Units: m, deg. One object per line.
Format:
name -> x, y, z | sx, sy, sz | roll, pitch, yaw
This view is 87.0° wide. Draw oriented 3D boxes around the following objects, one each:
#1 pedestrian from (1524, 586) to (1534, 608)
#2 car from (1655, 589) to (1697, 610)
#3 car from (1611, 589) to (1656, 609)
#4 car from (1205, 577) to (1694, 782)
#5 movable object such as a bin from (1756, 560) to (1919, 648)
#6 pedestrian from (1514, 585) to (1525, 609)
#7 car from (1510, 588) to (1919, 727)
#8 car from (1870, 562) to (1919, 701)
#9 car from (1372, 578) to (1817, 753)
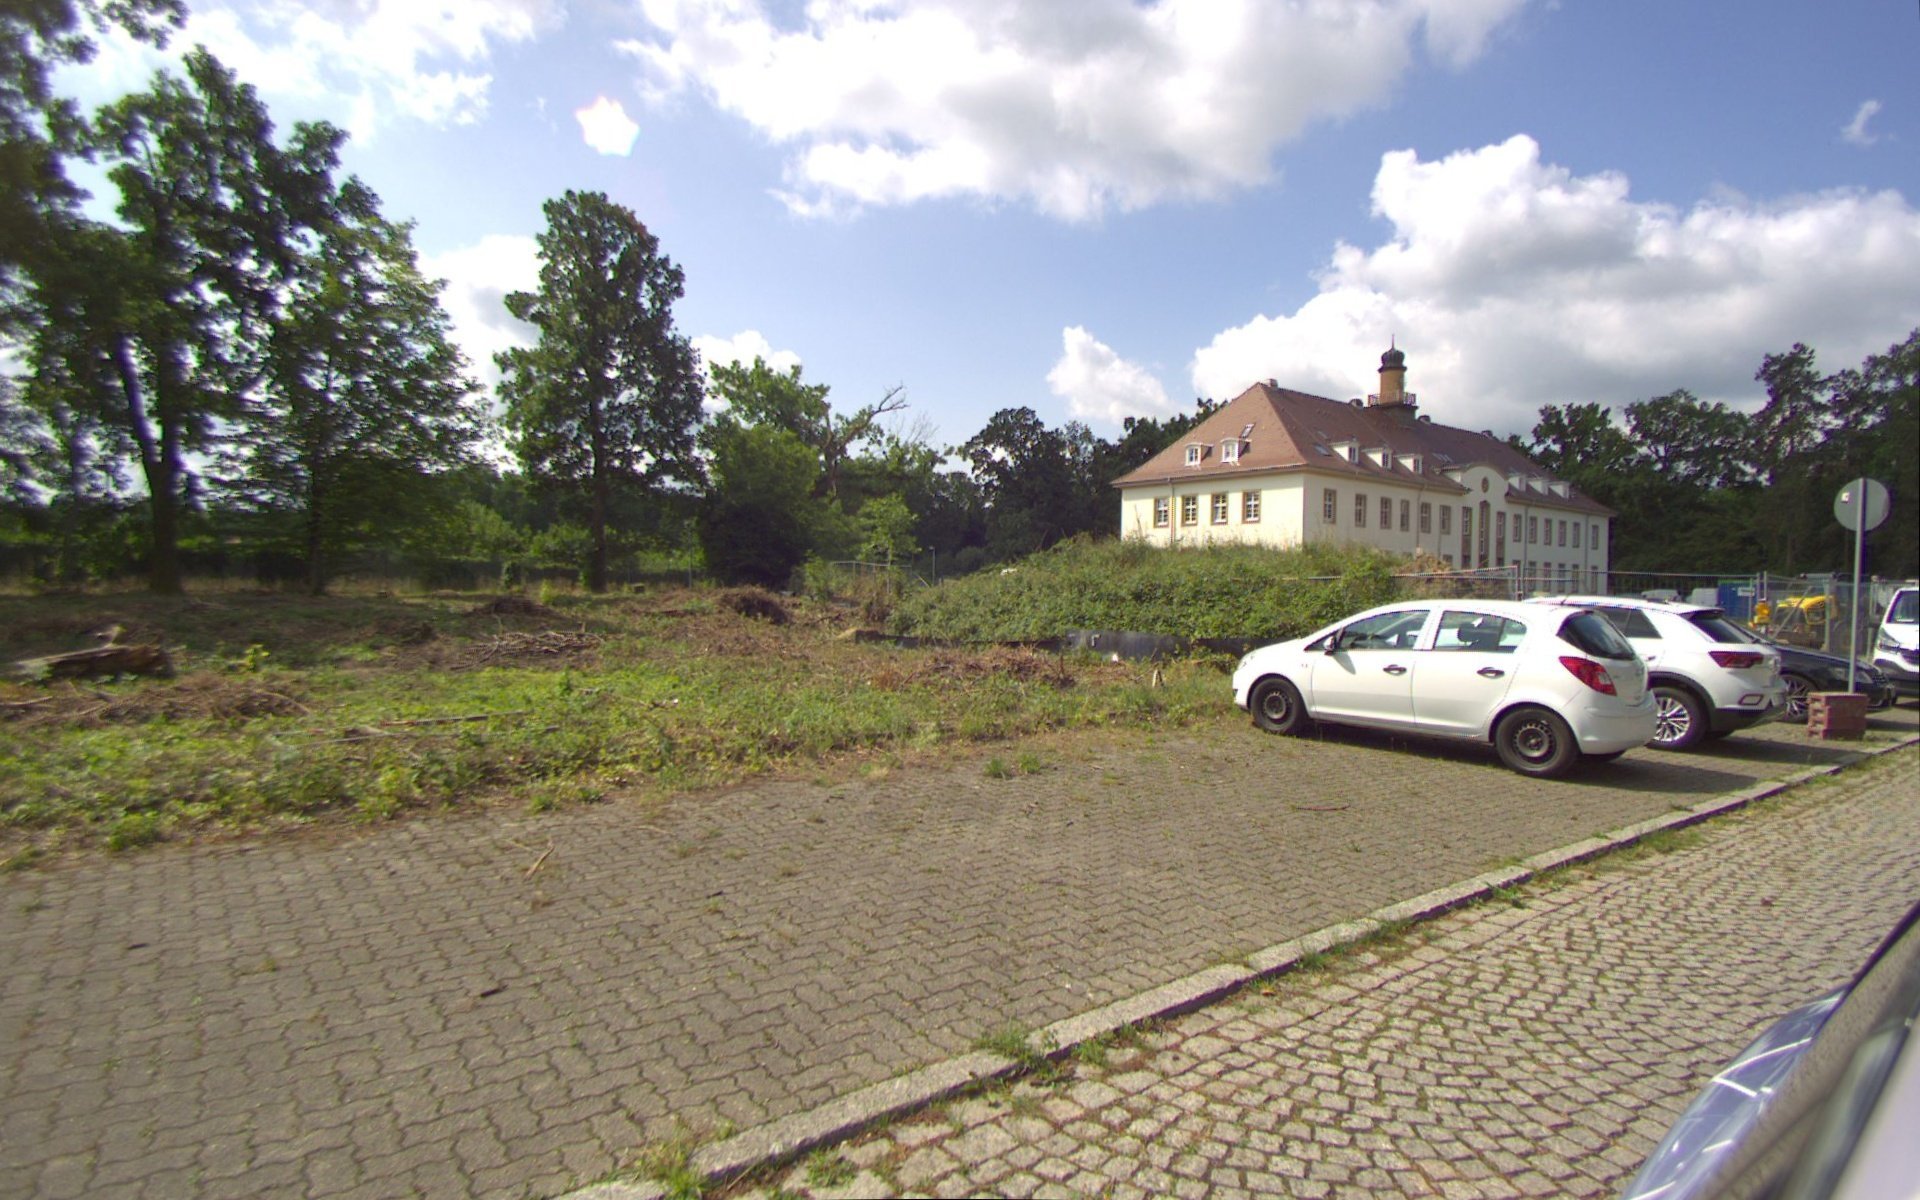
pedestrian -> 45.334, -0.236, 80.647 | 0.498, 1.810, 0.490 | 1, 0, -40
car -> 62.136, -0.035, 87.840 | 3.964, 1.704, 1.803 | 0, 1, -36
car -> 60.148, -0.087, 90.356 | 4.619, 1.749, 1.886 | 0, 1, -36
car -> 4.643, 0.598, 10.131 | 1.674, 1.482, 4.052 | 0, 3, -39
movable object such as a bin -> 28.417, 0.145, 31.719 | 5.540, 2.553, 2.153 | 2, 1, -9
pedestrian -> 44.142, -0.241, 79.854 | 0.496, 1.810, 0.492 | 1, 0, -15
car -> 10.615, 0.678, 14.488 | 1.715, 1.493, 4.463 | 0, 3, -41
car -> 16.840, 0.490, 16.460 | 5.572, 2.079, 1.920 | 0, 1, -37
car -> 7.131, 0.592, 11.721 | 1.715, 1.525, 3.997 | 0, 3, -39
